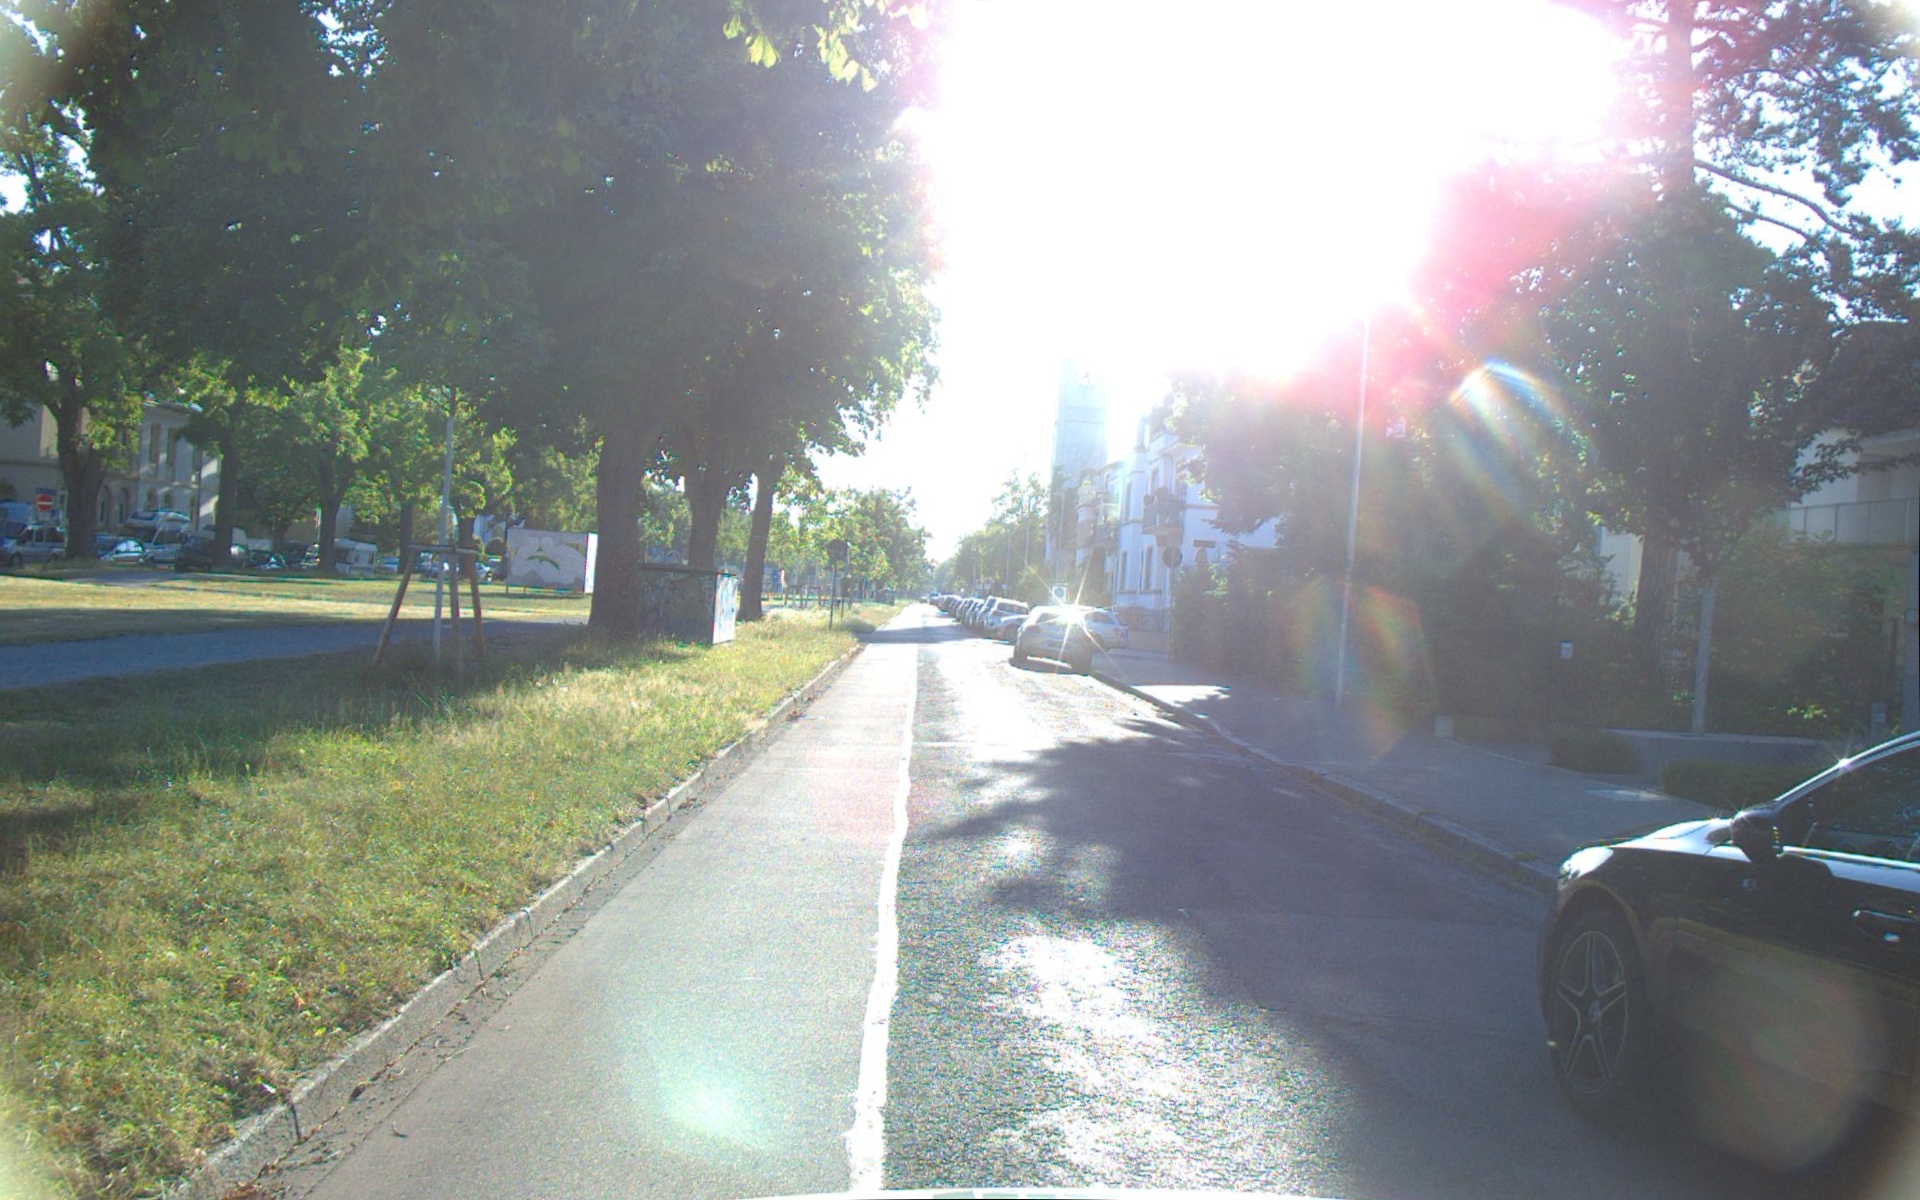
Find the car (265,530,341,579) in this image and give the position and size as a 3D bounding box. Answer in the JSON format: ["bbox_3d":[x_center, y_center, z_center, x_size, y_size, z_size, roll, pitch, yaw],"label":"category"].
[{"bbox_3d":[-34.921,-2.394,88.057,1.953,2.289,5.185,4,-1,-1],"label":"car"}]

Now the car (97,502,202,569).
[{"bbox_3d":[-40.678,-3.205,83.198,2.388,2.973,5.816,2,-1,-1],"label":"car"}]

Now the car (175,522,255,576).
[{"bbox_3d":[-34.669,-2.352,77.091,1.651,2.213,4.313,4,-1,0],"label":"car"}]

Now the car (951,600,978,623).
[{"bbox_3d":[0.342,0.910,131.993,1.953,1.657,3.999,4,-1,0],"label":"car"}]

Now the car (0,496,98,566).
[{"bbox_3d":[-40.258,-2.989,72.644,1.953,2.719,5.185,4,-1,-1],"label":"car"}]

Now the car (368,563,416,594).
[{"bbox_3d":[-41.673,-1.543,121.460,1.953,2.049,4.483,2,-1,-1],"label":"car"}]

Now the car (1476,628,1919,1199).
[{"bbox_3d":[2.921,0.941,3.886,1.715,1.502,4.285,6,0,-4],"label":"car"}]

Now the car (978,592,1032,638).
[{"bbox_3d":[1.726,0.571,64.549,1.724,1.633,4.356,4,0,-2],"label":"car"}]

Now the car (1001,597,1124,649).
[{"bbox_3d":[3.444,0.738,55.394,3.903,1.444,1.768,4,1,8],"label":"car"}]

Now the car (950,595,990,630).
[{"bbox_3d":[0.489,0.615,84.702,1.724,1.633,4.356,4,0,-2],"label":"car"}]

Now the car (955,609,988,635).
[{"bbox_3d":[0.699,1.420,105.533,1.953,1.489,3.999,4,-1,0],"label":"car"}]

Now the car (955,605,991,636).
[{"bbox_3d":[0.706,1.159,94.922,1.726,1.547,3.998,6,-1,-2],"label":"car"}]

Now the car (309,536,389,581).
[{"bbox_3d":[-35.156,-2.362,95.374,2.483,2.275,5.458,4,0,-1],"label":"car"}]

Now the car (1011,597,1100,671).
[{"bbox_3d":[2.323,0.827,41.183,1.723,1.443,4.071,10,-1,-1],"label":"car"}]

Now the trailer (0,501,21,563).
[{"bbox_3d":[-40.121,-2.878,66.430,1.953,2.470,4.723,4,-1,-1],"label":"trailer"}]

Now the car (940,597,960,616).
[{"bbox_3d":[-0.997,0.652,166.216,1.940,1.712,3.999,4,-1,0],"label":"car"}]

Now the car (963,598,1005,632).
[{"bbox_3d":[1.133,0.703,79.435,1.726,1.444,3.998,4,0,-2],"label":"car"}]

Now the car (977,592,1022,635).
[{"bbox_3d":[1.654,0.537,70.561,1.651,1.679,4.098,4,0,-1],"label":"car"}]
